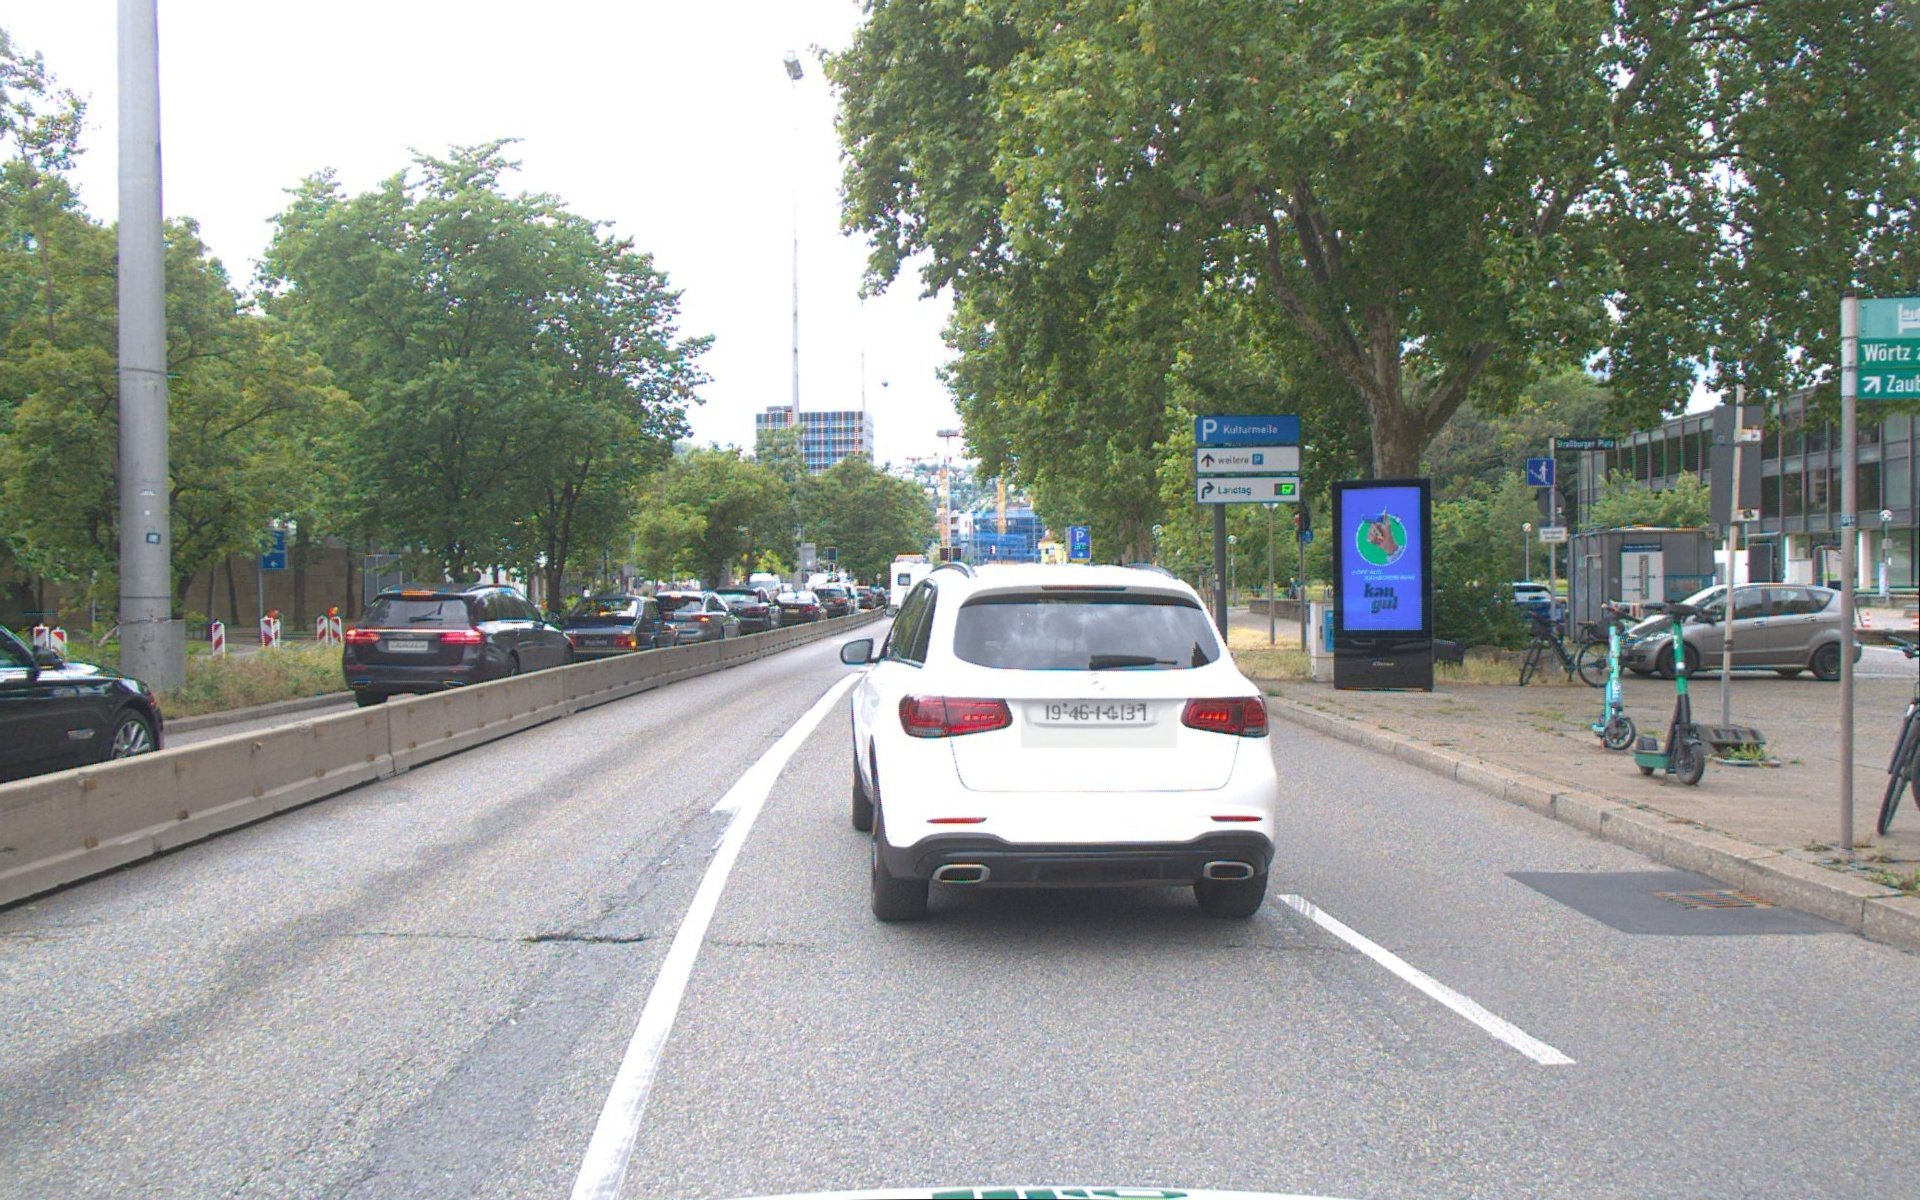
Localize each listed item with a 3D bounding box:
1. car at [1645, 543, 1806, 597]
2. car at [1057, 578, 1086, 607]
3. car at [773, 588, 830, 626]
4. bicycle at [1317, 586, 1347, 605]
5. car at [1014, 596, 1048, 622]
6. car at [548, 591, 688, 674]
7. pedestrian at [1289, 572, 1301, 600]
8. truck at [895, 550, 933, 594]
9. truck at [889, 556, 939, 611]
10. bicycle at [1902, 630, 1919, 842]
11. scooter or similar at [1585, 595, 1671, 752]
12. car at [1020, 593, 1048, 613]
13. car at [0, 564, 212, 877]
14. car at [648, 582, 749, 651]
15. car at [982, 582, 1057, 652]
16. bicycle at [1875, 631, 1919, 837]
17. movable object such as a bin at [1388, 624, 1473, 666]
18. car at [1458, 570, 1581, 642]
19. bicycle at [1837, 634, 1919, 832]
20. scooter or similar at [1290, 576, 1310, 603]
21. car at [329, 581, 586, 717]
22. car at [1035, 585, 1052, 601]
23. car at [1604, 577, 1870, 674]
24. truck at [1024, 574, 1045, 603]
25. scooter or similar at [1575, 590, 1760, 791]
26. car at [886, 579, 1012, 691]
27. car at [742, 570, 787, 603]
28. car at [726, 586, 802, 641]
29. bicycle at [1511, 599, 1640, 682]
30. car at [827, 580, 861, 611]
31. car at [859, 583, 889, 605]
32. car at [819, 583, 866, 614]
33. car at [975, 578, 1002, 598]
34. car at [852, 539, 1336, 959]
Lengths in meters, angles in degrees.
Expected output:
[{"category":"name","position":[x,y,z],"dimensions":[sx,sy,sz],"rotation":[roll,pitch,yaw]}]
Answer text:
[{"category":"car","position":[33.647,-1.299,72.862],"dimensions":[5.980,2.300,2.402],"rotation":[0,0,2]},{"category":"car","position":[8.138,-0.541,121.142],"dimensions":[1.952,2.049,4.001],"rotation":[0,0,2]},{"category":"car","position":[-5.677,0.239,59.494],"dimensions":[1.625,1.343,3.548],"rotation":[0,0,1]},{"category":"bicycle","position":[19.879,-0.241,88.429],"dimensions":[0.934,0.992,2.787],"rotation":[2,0,0]},{"category":"car","position":[4.041,0.517,94.738],"dimensions":[1.906,1.453,4.017],"rotation":[0,0,2]},{"category":"car","position":[-6.276,0.548,30.808],"dimensions":[1.643,1.390,4.543],"rotation":[-1,0,0]},{"category":"pedestrian","position":[19.543,-0.802,96.597],"dimensions":[0.625,1.639,0.663],"rotation":[0,0,8]},{"category":"truck","position":[-3.386,-2.062,123.455],"dimensions":[2.637,3.044,5.637],"rotation":[2,0,0]},{"category":"truck","position":[-2.490,-0.908,91.889],"dimensions":[2.567,2.911,7.078],"rotation":[1,0,0]},{"category":"bicycle","position":[5.897,0.731,8.596],"dimensions":[1.691,1.110,0.381],"rotation":[1,0,13]},{"category":"scooter or similar","position":[5.838,0.613,14.500],"dimensions":[0.422,1.303,1.435],"rotation":[1,0,11]},{"category":"car","position":[5.131,0.208,114.782],"dimensions":[1.906,1.343,4.017],"rotation":[0,0,2]},{"category":"car","position":[-6.051,0.636,8.709],"dimensions":[1.884,1.664,4.937],"rotation":[0,0,1]},{"category":"car","position":[-5.826,0.356,37.255],"dimensions":[1.627,1.461,3.960],"rotation":[0,0,0]},{"category":"car","position":[1.451,0.407,41.380],"dimensions":[1.626,1.668,3.546],"rotation":[0,0,-2]},{"category":"bicycle","position":[6.000,0.745,9.030],"dimensions":[1.691,1.110,0.426],"rotation":[1,0,13]},{"category":"movable object such as a bin","position":[7.869,0.749,27.693],"dimensions":[1.271,0.663,0.729],"rotation":[2,-1,9]},{"category":"car","position":[13.649,0.103,40.569],"dimensions":[1.724,1.578,4.028],"rotation":[-1,2,1]},{"category":"bicycle","position":[6.202,0.780,9.617],"dimensions":[1.818,1.110,0.666],"rotation":[1,0,13]},{"category":"scooter or similar","position":[16.962,-0.514,82.584],"dimensions":[0.622,1.267,2.226],"rotation":[1,0,3]},{"category":"car","position":[-6.200,0.539,21.022],"dimensions":[1.779,1.525,4.769],"rotation":[0,0,0]},{"category":"car","position":[9.153,-0.758,181.830],"dimensions":[1.722,1.698,4.168],"rotation":[0,1,1]},{"category":"car","position":[13.198,0.422,28.240],"dimensions":[3.757,1.596,1.679],"rotation":[0,0,0]},{"category":"truck","position":[10.685,-1.667,238.127],"dimensions":[2.818,4.175,6.639],"rotation":[1,0,1]},{"category":"scooter or similar","position":[5.089,0.617,11.983],"dimensions":[0.711,1.354,1.413],"rotation":[1,0,-1]},{"category":"car","position":[-0.246,0.506,26.092],"dimensions":[1.760,1.636,3.752],"rotation":[0,0,-4]},{"category":"car","position":[-12.092,-0.849,102.590],"dimensions":[2.072,2.003,5.579],"rotation":[-1,0,1]},{"category":"car","position":[-5.449,0.338,46.353],"dimensions":[1.740,1.445,3.999],"rotation":[-1,1,-2]},{"category":"bicycle","position":[9.291,0.609,24.996],"dimensions":[1.747,1.242,0.492],"rotation":[0,0,3]},{"category":"car","position":[-5.870,-0.225,83.808],"dimensions":[1.626,1.540,3.545],"rotation":[0,0,-3]},{"category":"car","position":[-5.489,-0.392,105.629],"dimensions":[1.625,1.343,3.548],"rotation":[0,0,2]},{"category":"car","position":[-5.144,-0.062,72.850],"dimensions":[1.624,1.343,3.549],"rotation":[0,0,3]},{"category":"car","position":[2.026,-0.819,116.569],"dimensions":[1.906,1.343,4.017],"rotation":[0,0,2]},{"category":"car","position":[0.410,0.585,8.828],"dimensions":[1.754,1.653,4.431],"rotation":[0,0,-7]}]
